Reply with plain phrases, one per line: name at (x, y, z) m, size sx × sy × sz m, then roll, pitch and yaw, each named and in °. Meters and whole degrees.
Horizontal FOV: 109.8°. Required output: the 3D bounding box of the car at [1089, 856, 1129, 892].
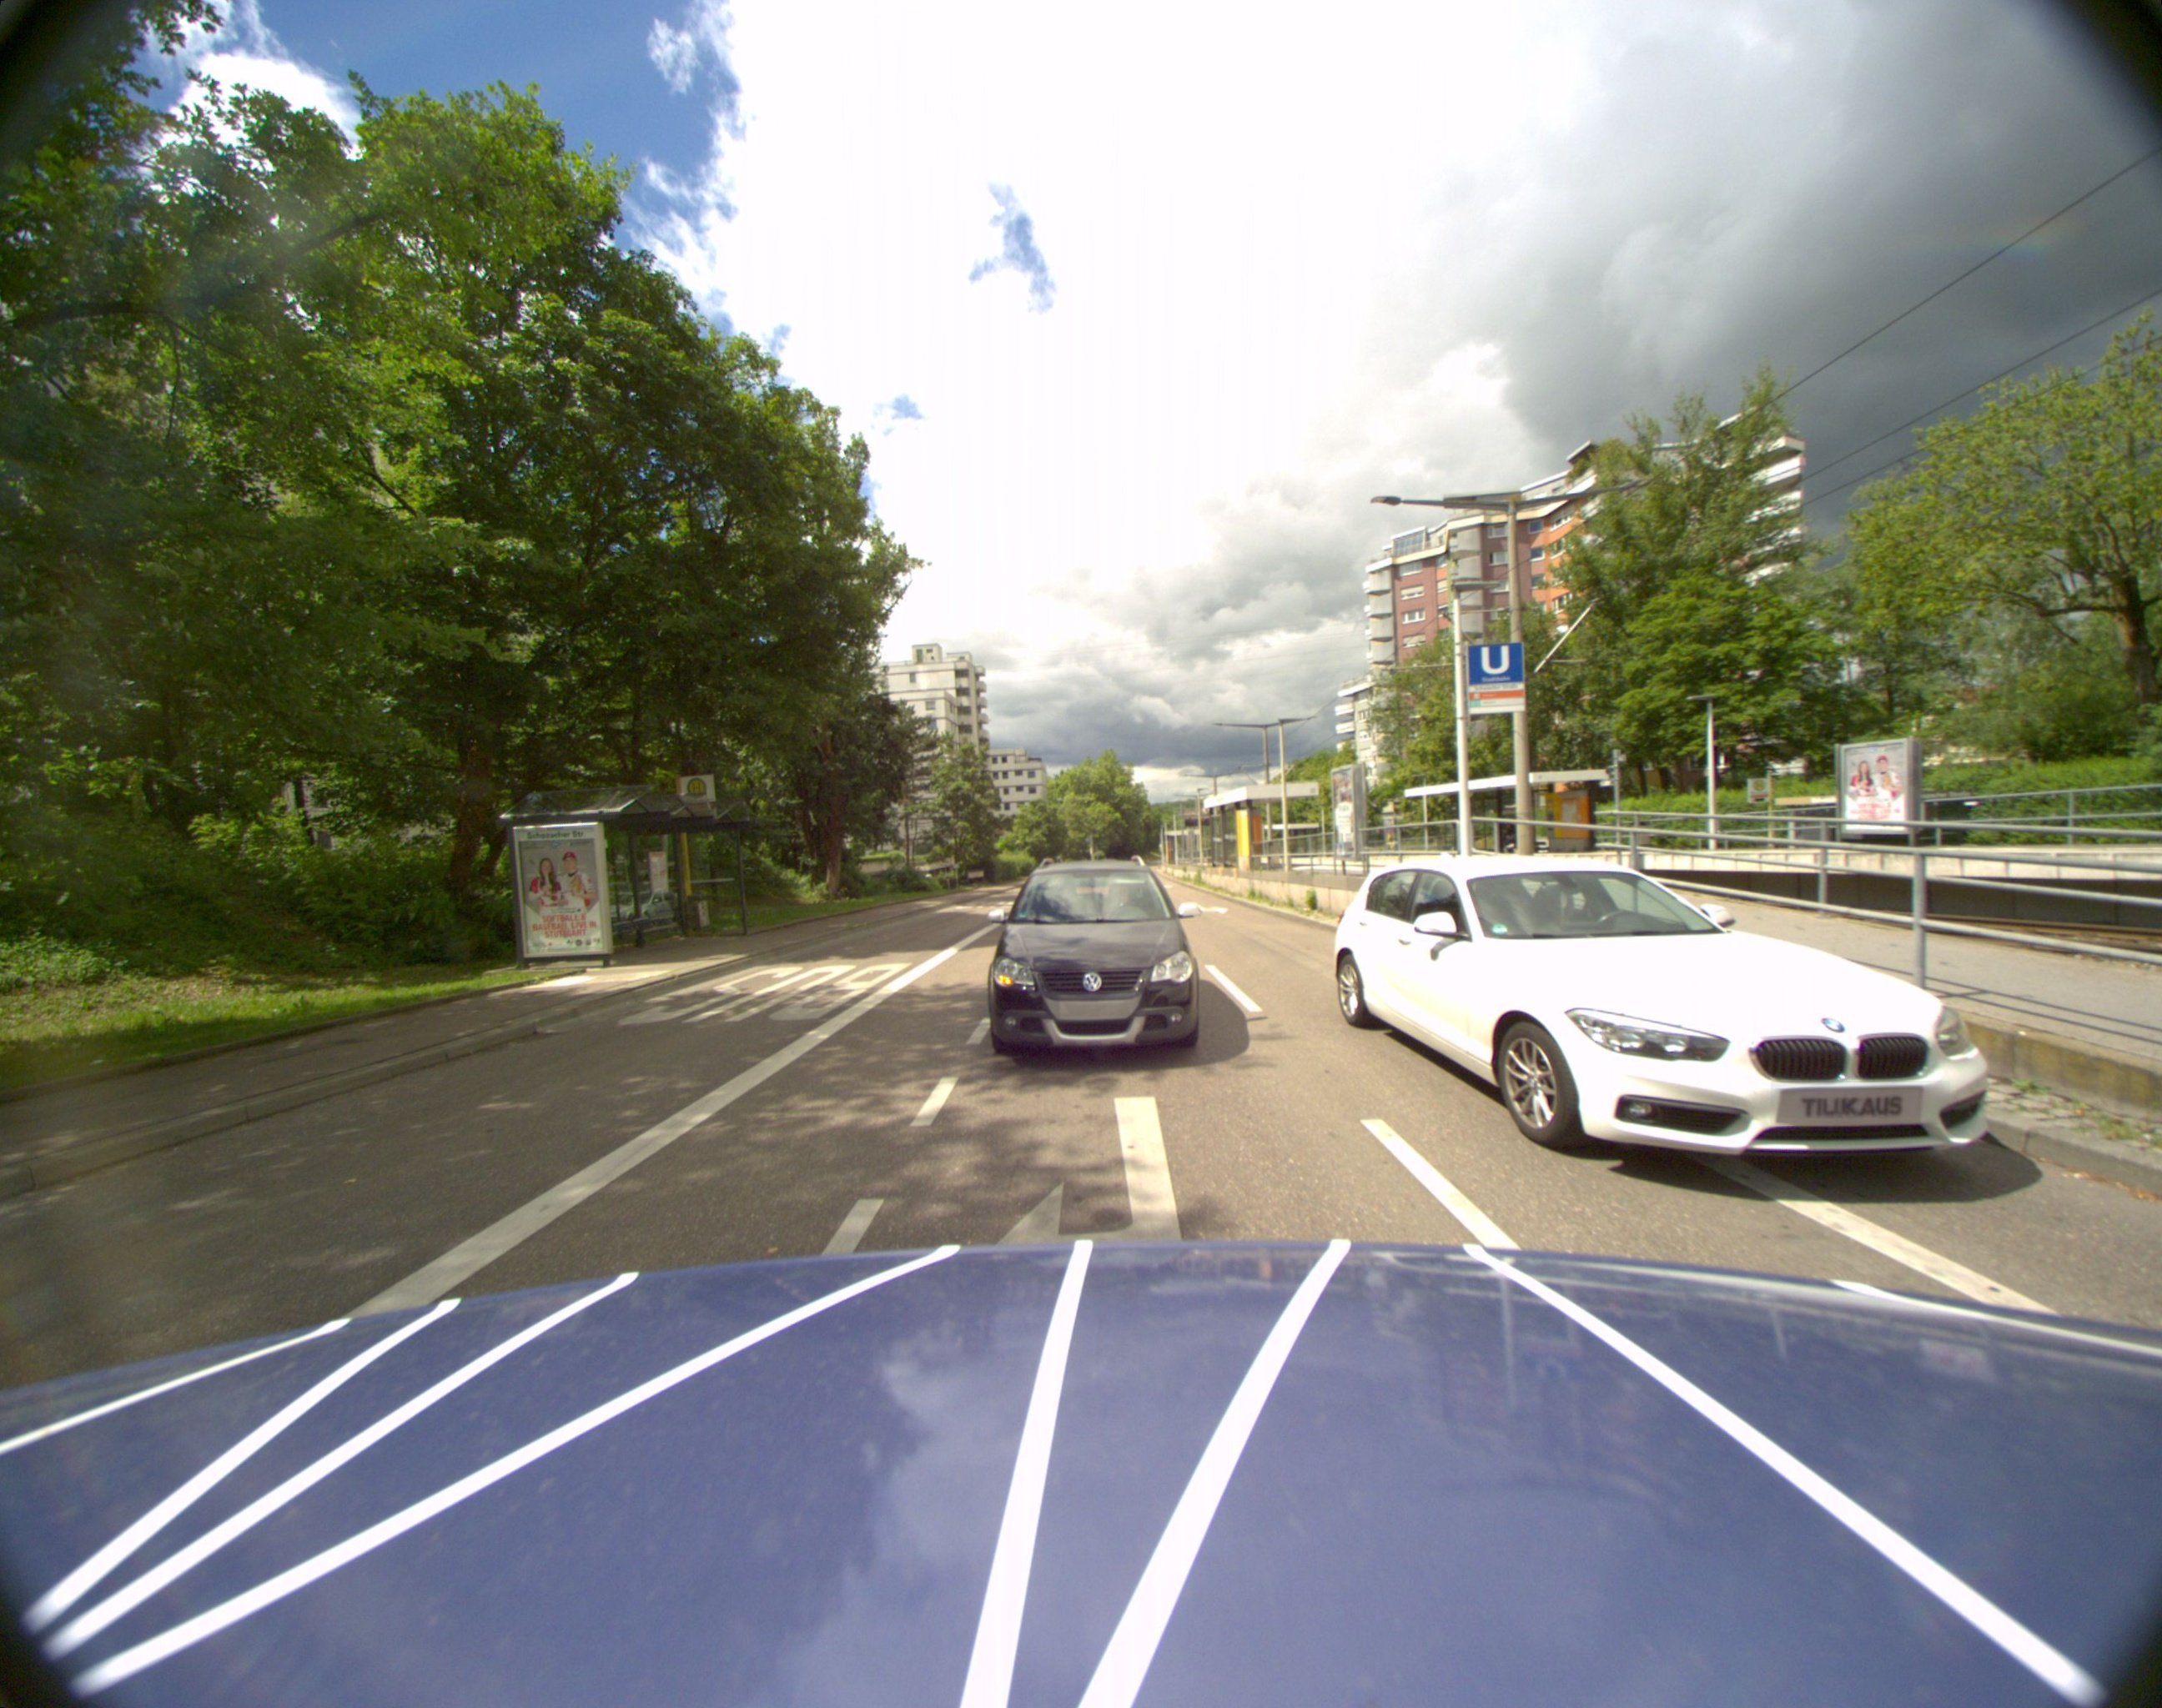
car at (1.288, 0.907, 35.821) m, size 1.732 × 1.505 × 4.000 m, roll -2°, pitch 1°, yaw 1°

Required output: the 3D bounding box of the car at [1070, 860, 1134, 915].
car at (0.682, 0.960, 23.116) m, size 1.732 × 1.452 × 4.001 m, roll -2°, pitch 0°, yaw 3°

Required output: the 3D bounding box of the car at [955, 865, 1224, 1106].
car at (0.086, 0.908, 7.076) m, size 1.732 × 1.501 × 4.000 m, roll -2°, pitch 0°, yaw 1°

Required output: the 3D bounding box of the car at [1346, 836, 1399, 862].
car at (19.902, -0.334, 52.067) m, size 1.998 × 1.625 × 4.460 m, roll -1°, pitch 0°, yaw 2°

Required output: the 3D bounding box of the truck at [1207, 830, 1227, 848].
truck at (25.236, -2.758, 141.208) m, size 2.420 × 3.203 × 7.263 m, roll -2°, pitch 0°, yaw 1°

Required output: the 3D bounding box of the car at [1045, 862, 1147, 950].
car at (0.299, 0.928, 15.348) m, size 1.732 × 1.453 × 4.000 m, roll -2°, pitch 0°, yaw 1°

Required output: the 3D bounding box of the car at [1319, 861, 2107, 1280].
car at (3.021, 0.846, 4.874) m, size 1.732 × 1.453 × 4.000 m, roll -2°, pitch 1°, yaw 1°
